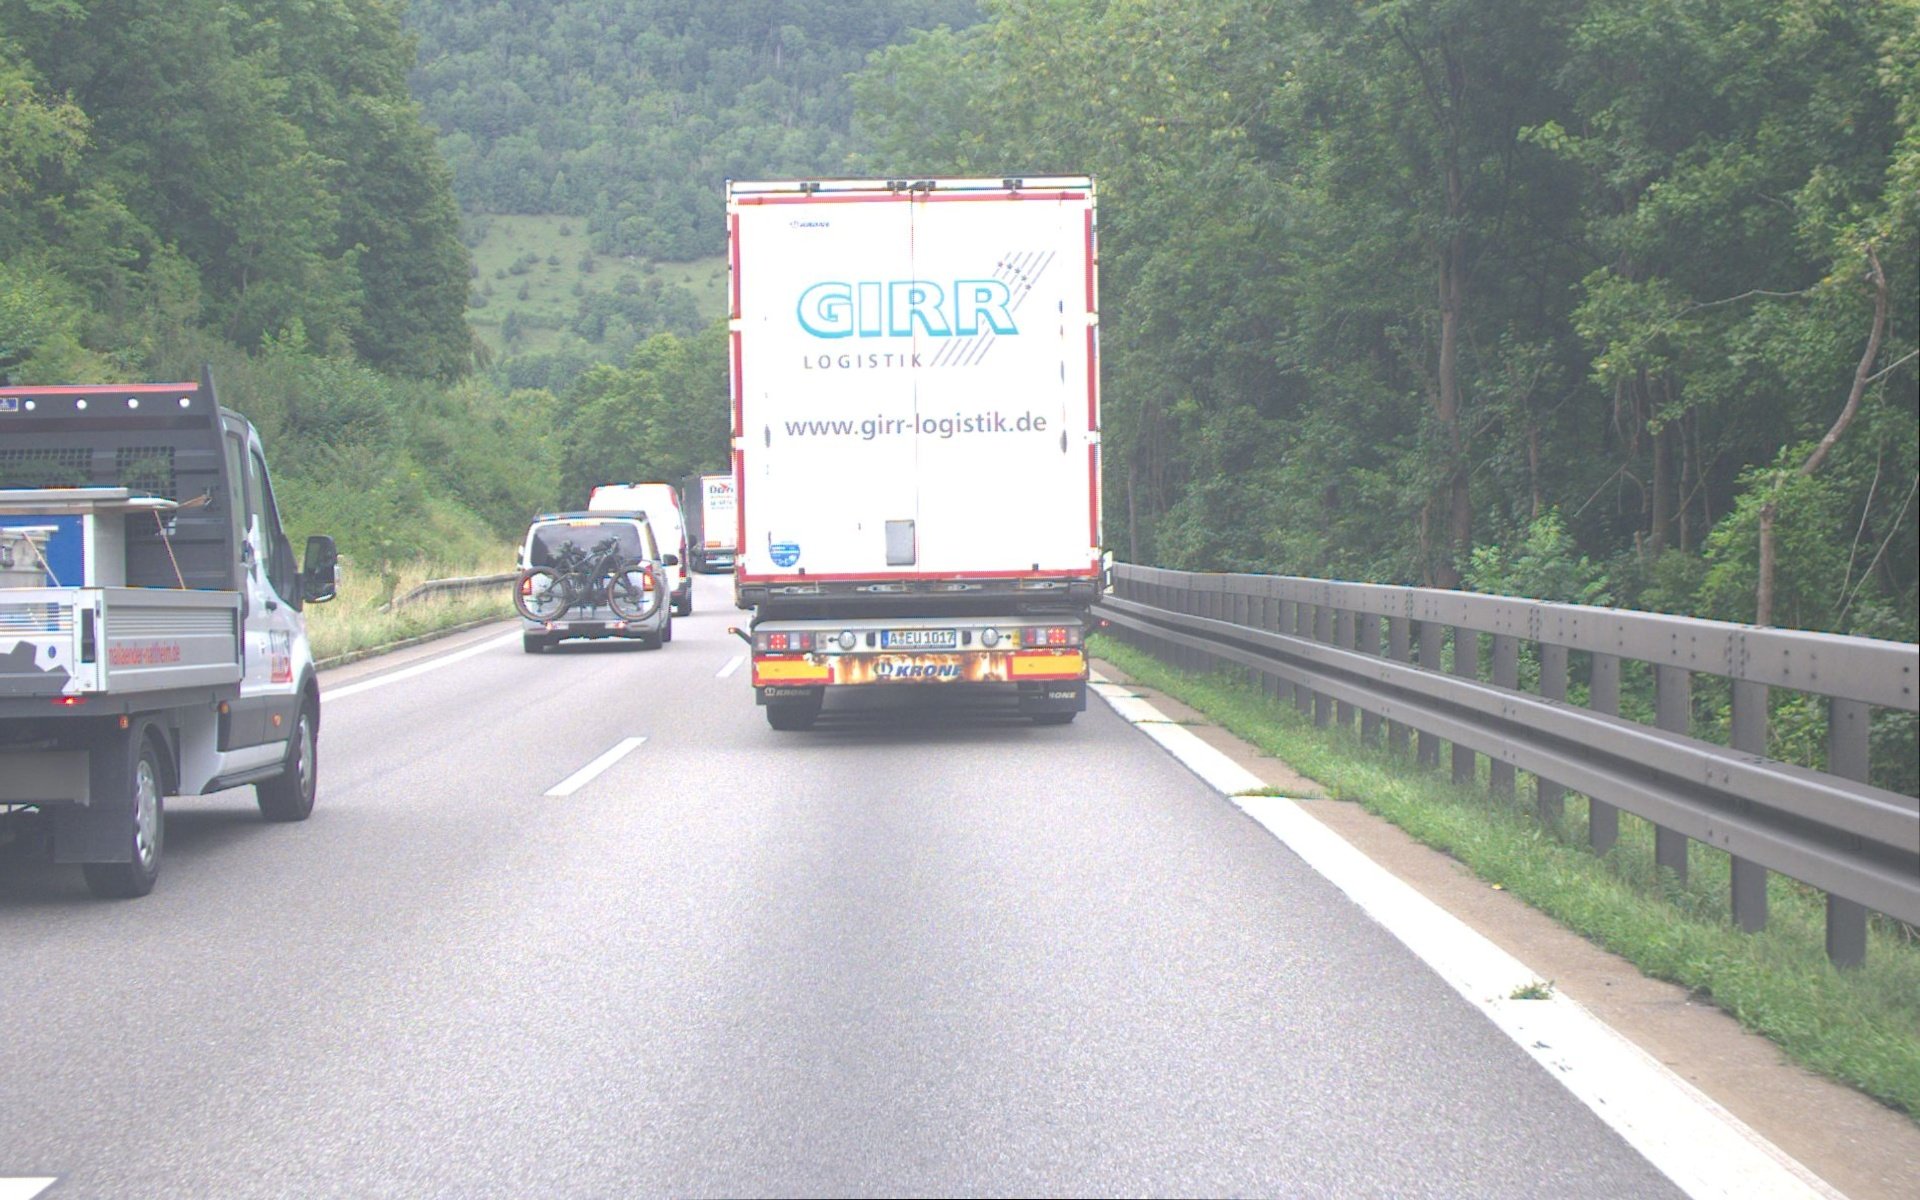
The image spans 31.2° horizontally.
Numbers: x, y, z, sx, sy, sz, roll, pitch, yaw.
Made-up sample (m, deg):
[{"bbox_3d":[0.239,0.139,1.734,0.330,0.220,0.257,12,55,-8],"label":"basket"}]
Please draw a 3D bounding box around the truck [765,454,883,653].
[{"bbox_3d":[-2.735,-0.912,69.172,2.233,3.791,6.823,0,0,-2],"label":"truck"}]

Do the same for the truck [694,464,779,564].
[{"bbox_3d":[-9.056,-3.404,138.582,3.068,3.864,8.460,0,0,-6],"label":"truck"}]

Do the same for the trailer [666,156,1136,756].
[{"bbox_3d":[-0.420,-1.060,28.113,3.133,4.029,9.440,1,1,0],"label":"trailer"}]

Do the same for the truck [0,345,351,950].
[{"bbox_3d":[-4.505,0.135,16.263,2.349,2.266,6.850,0,1,-3],"label":"truck"}]

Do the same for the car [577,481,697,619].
[{"bbox_3d":[-6.352,-1.003,68.214,2.123,2.589,5.564,-1,1,-3],"label":"car"}]

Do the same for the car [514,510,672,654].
[{"bbox_3d":[-5.103,-0.293,48.468,2.018,1.908,5.564,0,1,-4],"label":"car"}]
